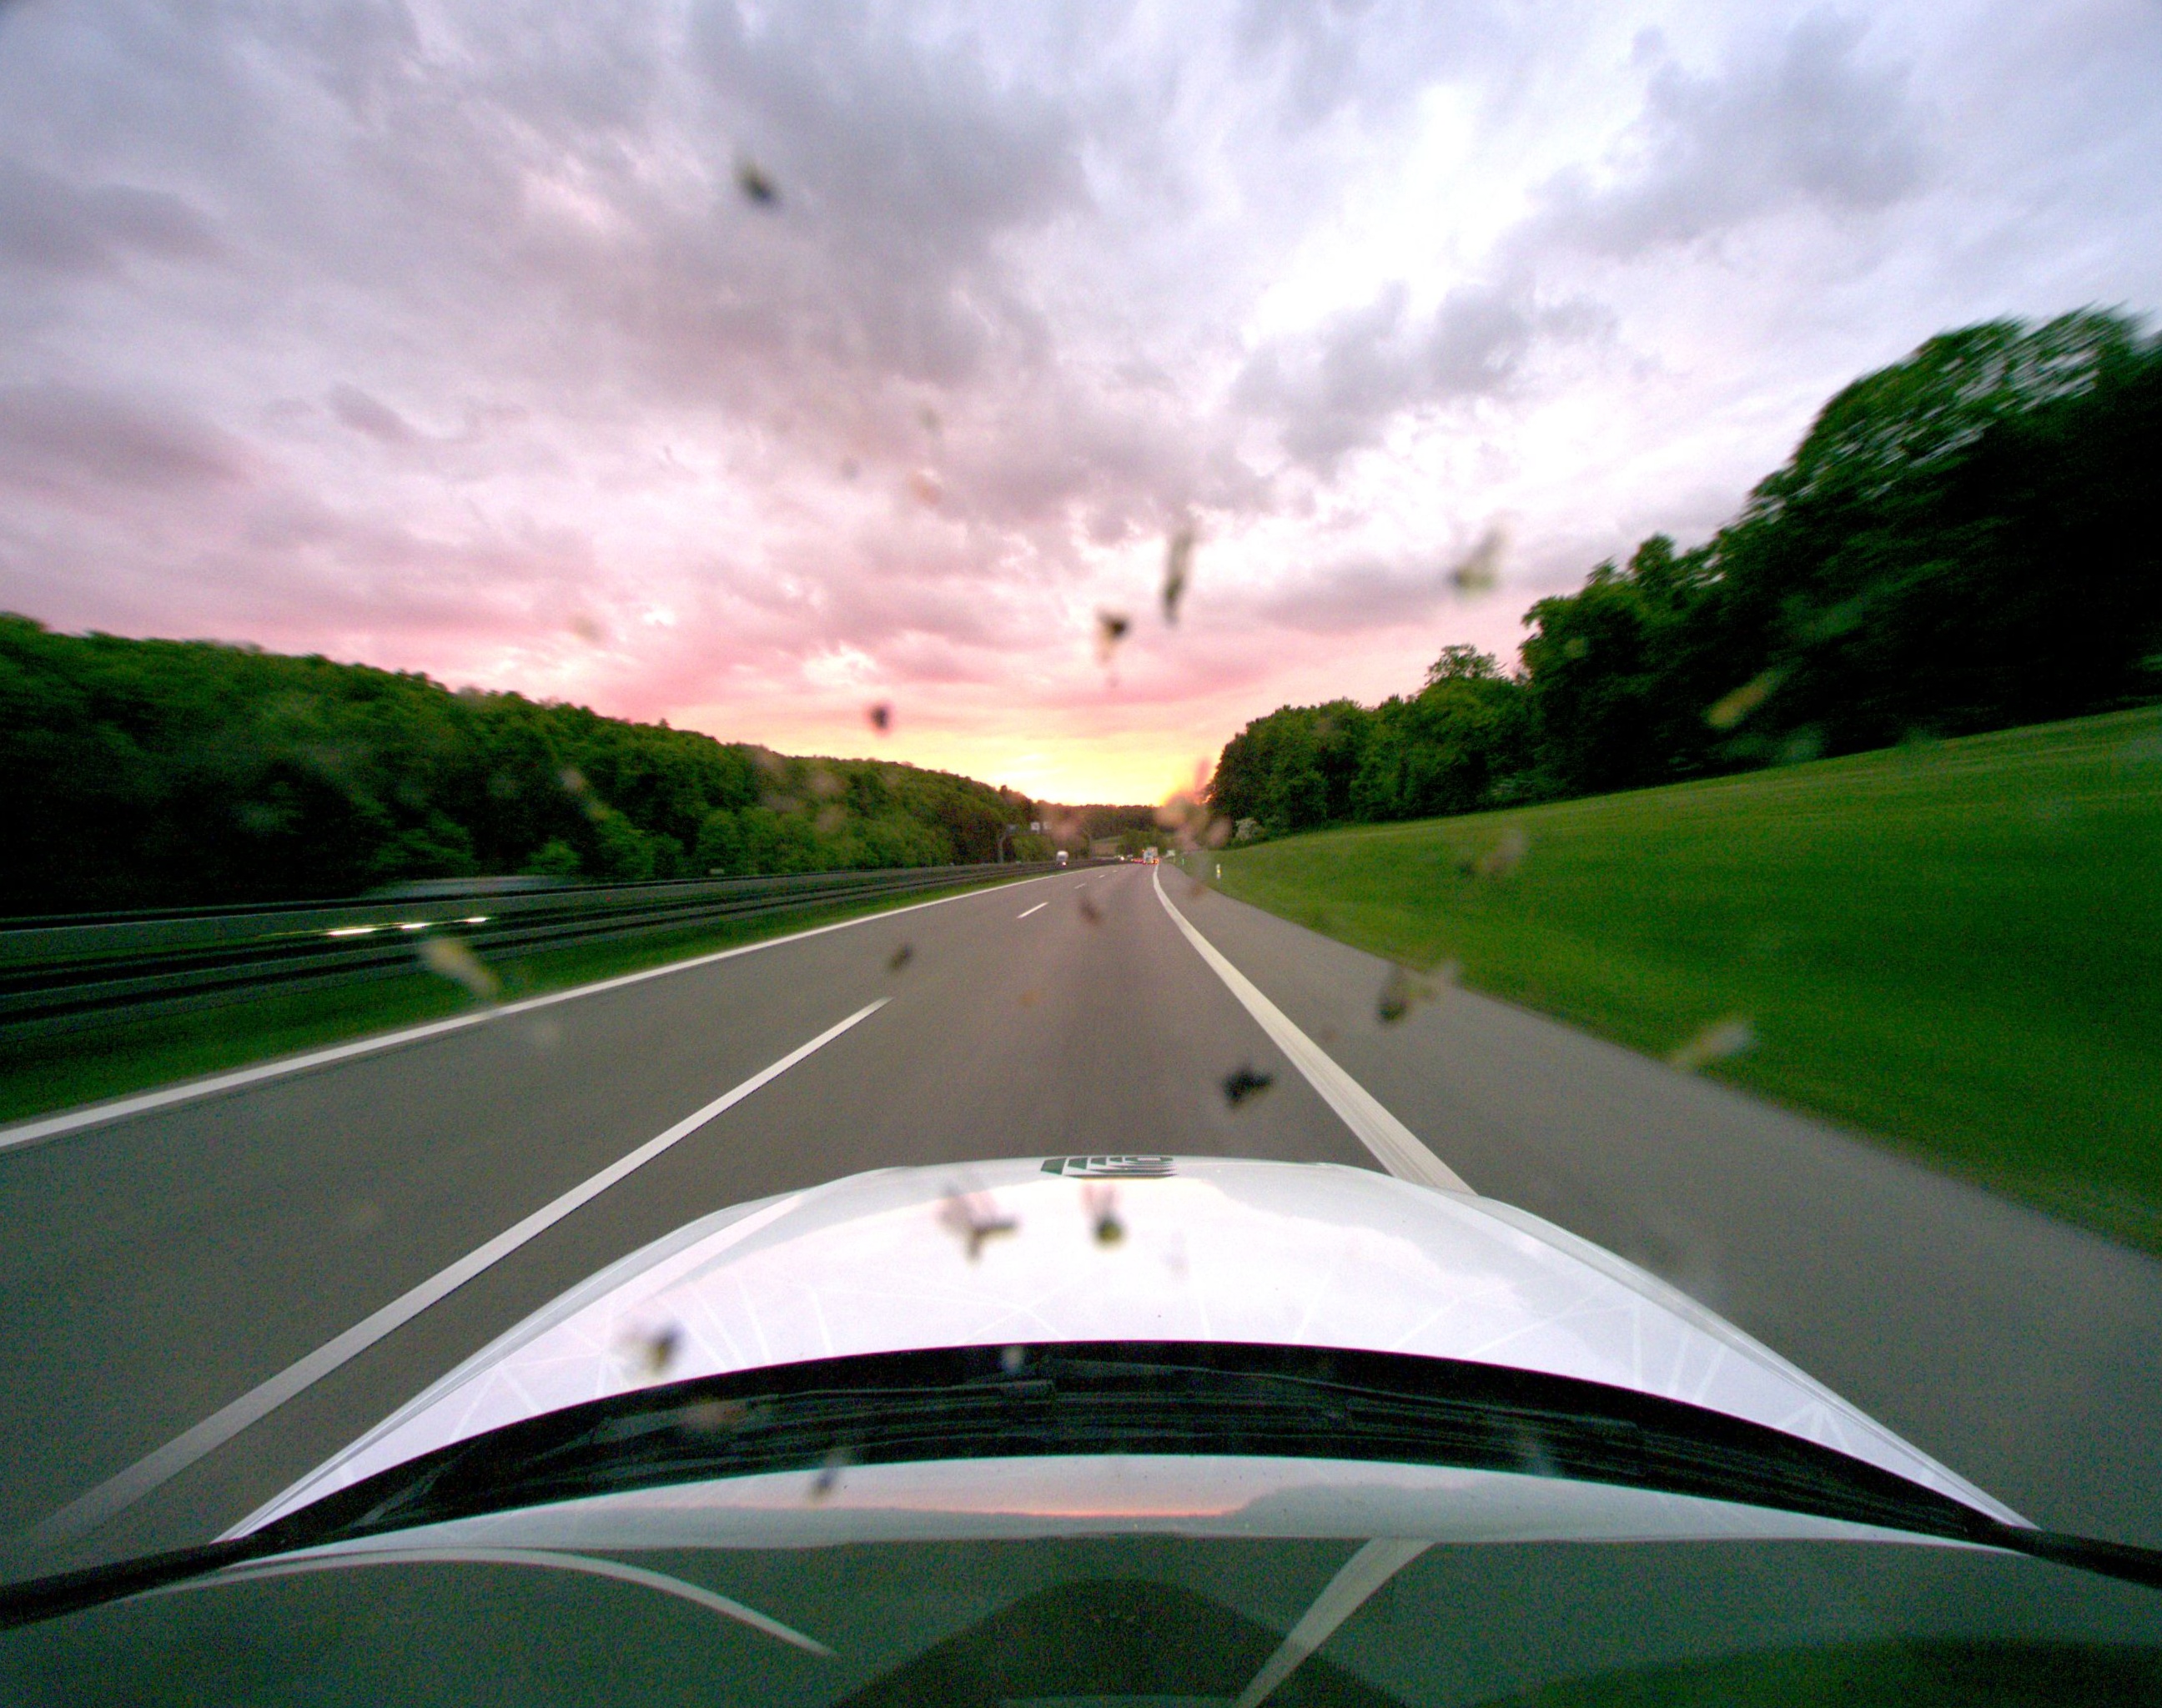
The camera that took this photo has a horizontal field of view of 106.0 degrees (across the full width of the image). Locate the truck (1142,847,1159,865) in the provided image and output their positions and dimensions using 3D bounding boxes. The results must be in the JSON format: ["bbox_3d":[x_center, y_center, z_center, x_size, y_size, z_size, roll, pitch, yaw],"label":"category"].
[{"bbox_3d":[17.592,0.453,205.728,3.939,4.286,14.343,-2,0,5],"label":"truck"}]

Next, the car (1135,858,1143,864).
[{"bbox_3d":[16.146,1.861,226.946,1.984,1.517,4.005,-2,0,4],"label":"car"}]

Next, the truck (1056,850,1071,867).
[{"bbox_3d":[-3.237,0.805,151.728,1.984,3.067,5.602,-1,0,5],"label":"truck"}]

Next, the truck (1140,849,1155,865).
[{"bbox_3d":[12.616,0.530,153.910,2.263,2.664,5.249,-3,2,8],"label":"truck"}]

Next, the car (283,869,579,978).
[{"bbox_3d":[-11.636,1.141,15.086,1.647,1.535,4.470,-3,0,3],"label":"car"}]
